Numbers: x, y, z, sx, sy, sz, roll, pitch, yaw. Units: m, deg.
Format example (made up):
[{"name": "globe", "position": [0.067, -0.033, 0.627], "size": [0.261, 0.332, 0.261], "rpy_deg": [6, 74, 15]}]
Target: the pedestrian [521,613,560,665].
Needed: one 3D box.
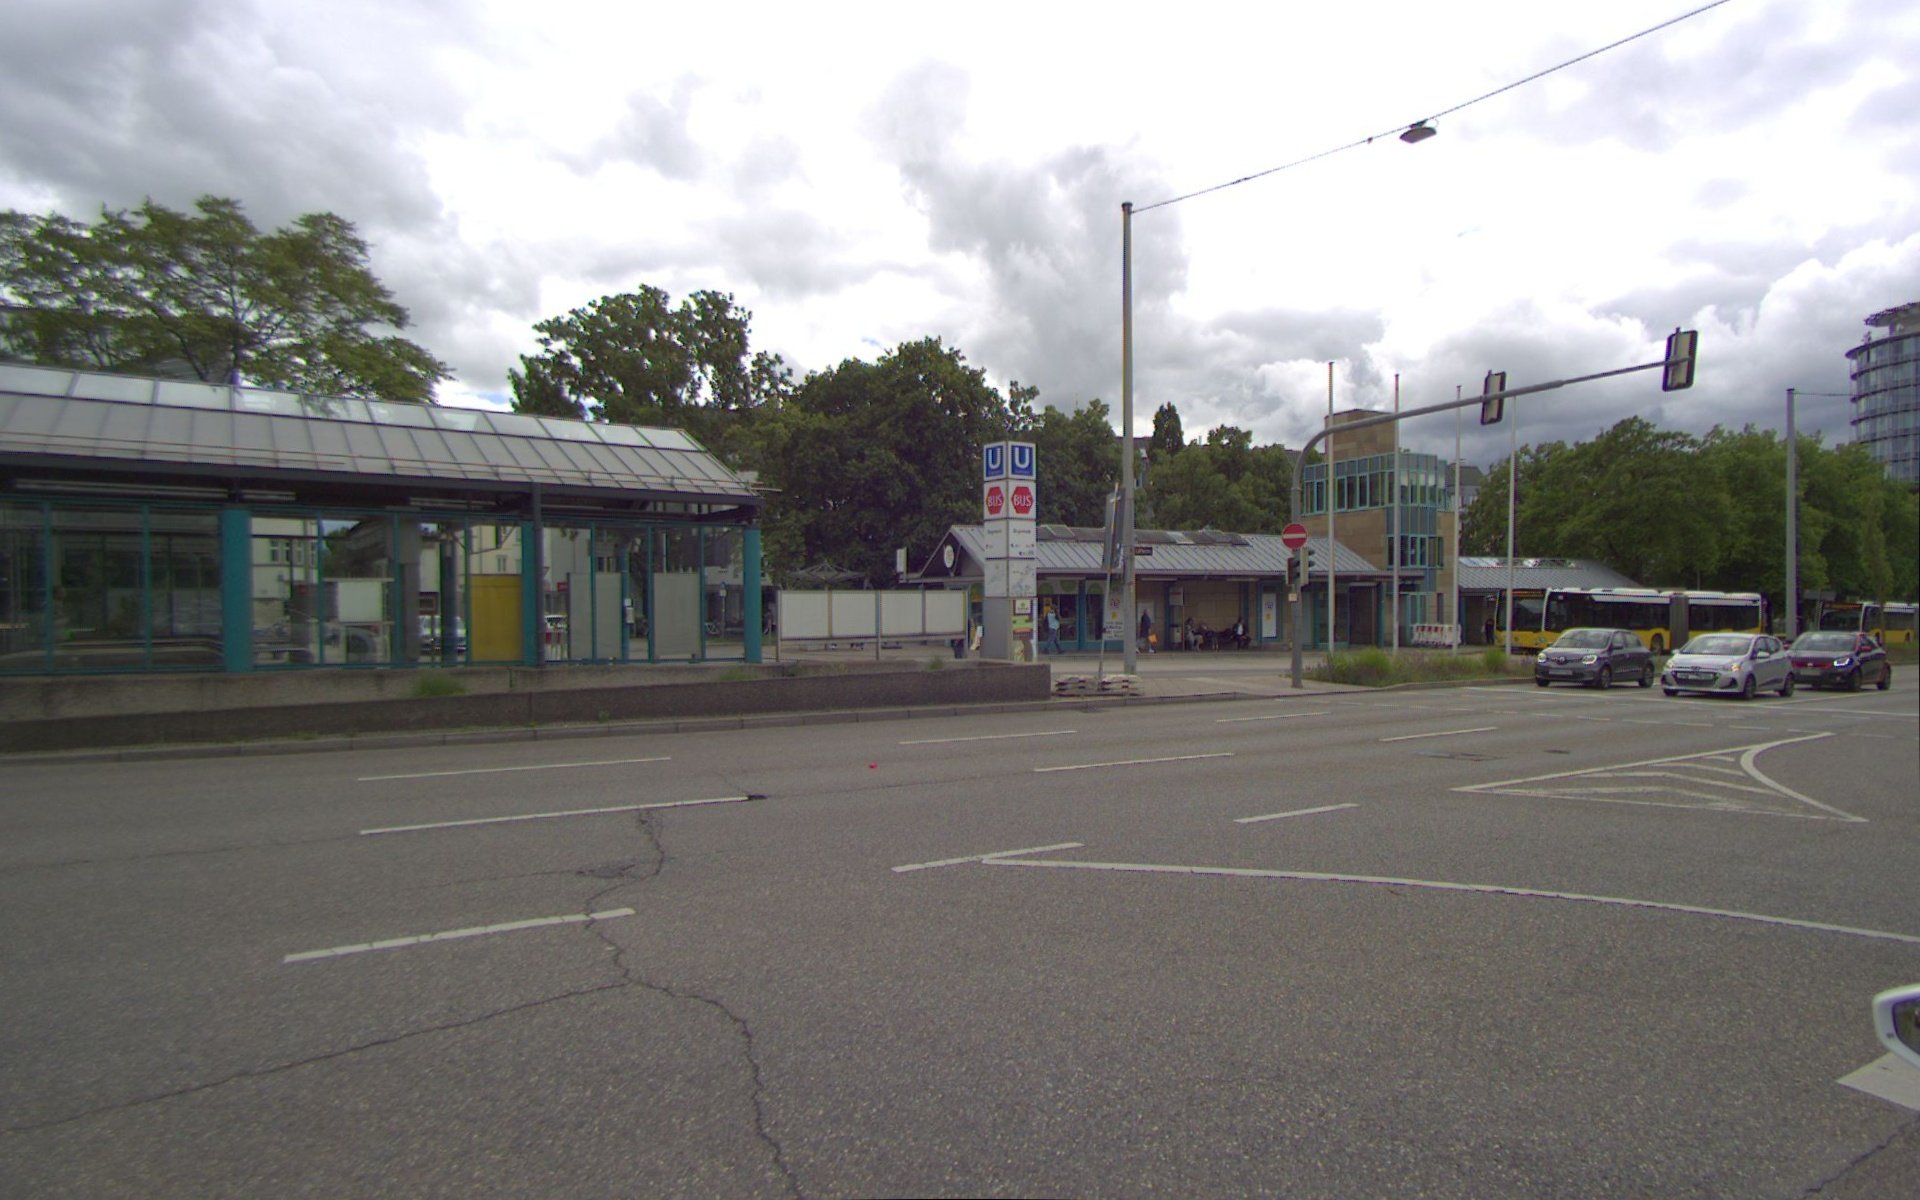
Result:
[{"name": "pedestrian", "position": [-12.329, 1.139, 29.536], "size": [0.981, 1.480, 0.587], "rpy_deg": [1, 0, -31]}]

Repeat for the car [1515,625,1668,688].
[{"name": "car", "position": [16.735, 1.456, 26.597], "size": [3.953, 1.528, 1.807], "rpy_deg": [2, -1, -30]}]

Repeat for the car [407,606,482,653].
[{"name": "car", "position": [-19.558, 1.086, 38.016], "size": [1.981, 1.617, 3.960], "rpy_deg": [1, -1, -35]}]

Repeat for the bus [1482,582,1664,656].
[{"name": "bus", "position": [28.640, 0.887, 46.791], "size": [9.318, 3.174, 2.765], "rpy_deg": [1, 1, -28]}]

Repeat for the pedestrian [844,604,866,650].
[{"name": "pedestrian", "position": [-3.655, 0.928, 35.077], "size": [0.520, 1.568, 0.754], "rpy_deg": [1, 0, 14]}]

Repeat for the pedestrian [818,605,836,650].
[{"name": "pedestrian", "position": [-4.626, 0.959, 34.962], "size": [0.475, 1.568, 0.384], "rpy_deg": [1, 0, 14]}]

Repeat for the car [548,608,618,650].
[{"name": "car", "position": [-17.091, 1.275, 45.412], "size": [1.981, 1.706, 3.958], "rpy_deg": [1, 1, -36]}]

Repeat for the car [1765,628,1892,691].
[{"name": "car", "position": [22.986, 1.537, 26.558], "size": [3.730, 1.528, 1.648], "rpy_deg": [2, -1, -34]}]

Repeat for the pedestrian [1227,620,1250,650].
[{"name": "pedestrian", "position": [10.930, 1.365, 39.420], "size": [0.650, 1.136, 0.617], "rpy_deg": [1, -1, -30]}]

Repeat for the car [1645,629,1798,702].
[{"name": "car", "position": [17.901, 1.471, 23.579], "size": [3.750, 1.485, 1.735], "rpy_deg": [0, 0, -34]}]

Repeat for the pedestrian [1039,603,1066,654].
[{"name": "pedestrian", "position": [3.070, 0.952, 33.260], "size": [0.650, 1.671, 0.617], "rpy_deg": [1, -1, -30]}]

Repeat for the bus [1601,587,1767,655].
[{"name": "bus", "position": [36.794, 1.070, 50.969], "size": [9.177, 3.174, 2.799], "rpy_deg": [1, 1, -26]}]

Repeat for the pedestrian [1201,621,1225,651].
[{"name": "pedestrian", "position": [9.751, 1.387, 38.783], "size": [0.650, 1.136, 0.617], "rpy_deg": [1, -1, -30]}]

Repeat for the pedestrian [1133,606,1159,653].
[{"name": "pedestrian", "position": [6.711, 1.070, 36.225], "size": [0.650, 1.671, 0.617], "rpy_deg": [1, -1, -30]}]

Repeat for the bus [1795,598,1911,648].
[{"name": "bus", "position": [62.531, 1.599, 70.228], "size": [10.616, 3.205, 3.067], "rpy_deg": [1, 1, -32]}]

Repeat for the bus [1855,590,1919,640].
[{"name": "bus", "position": [71.170, 1.159, 75.453], "size": [9.797, 3.502, 3.015], "rpy_deg": [1, 1, -31]}]

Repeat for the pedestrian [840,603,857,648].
[{"name": "pedestrian", "position": [-3.968, 0.897, 35.773], "size": [0.475, 1.568, 0.384], "rpy_deg": [1, 0, 14]}]
